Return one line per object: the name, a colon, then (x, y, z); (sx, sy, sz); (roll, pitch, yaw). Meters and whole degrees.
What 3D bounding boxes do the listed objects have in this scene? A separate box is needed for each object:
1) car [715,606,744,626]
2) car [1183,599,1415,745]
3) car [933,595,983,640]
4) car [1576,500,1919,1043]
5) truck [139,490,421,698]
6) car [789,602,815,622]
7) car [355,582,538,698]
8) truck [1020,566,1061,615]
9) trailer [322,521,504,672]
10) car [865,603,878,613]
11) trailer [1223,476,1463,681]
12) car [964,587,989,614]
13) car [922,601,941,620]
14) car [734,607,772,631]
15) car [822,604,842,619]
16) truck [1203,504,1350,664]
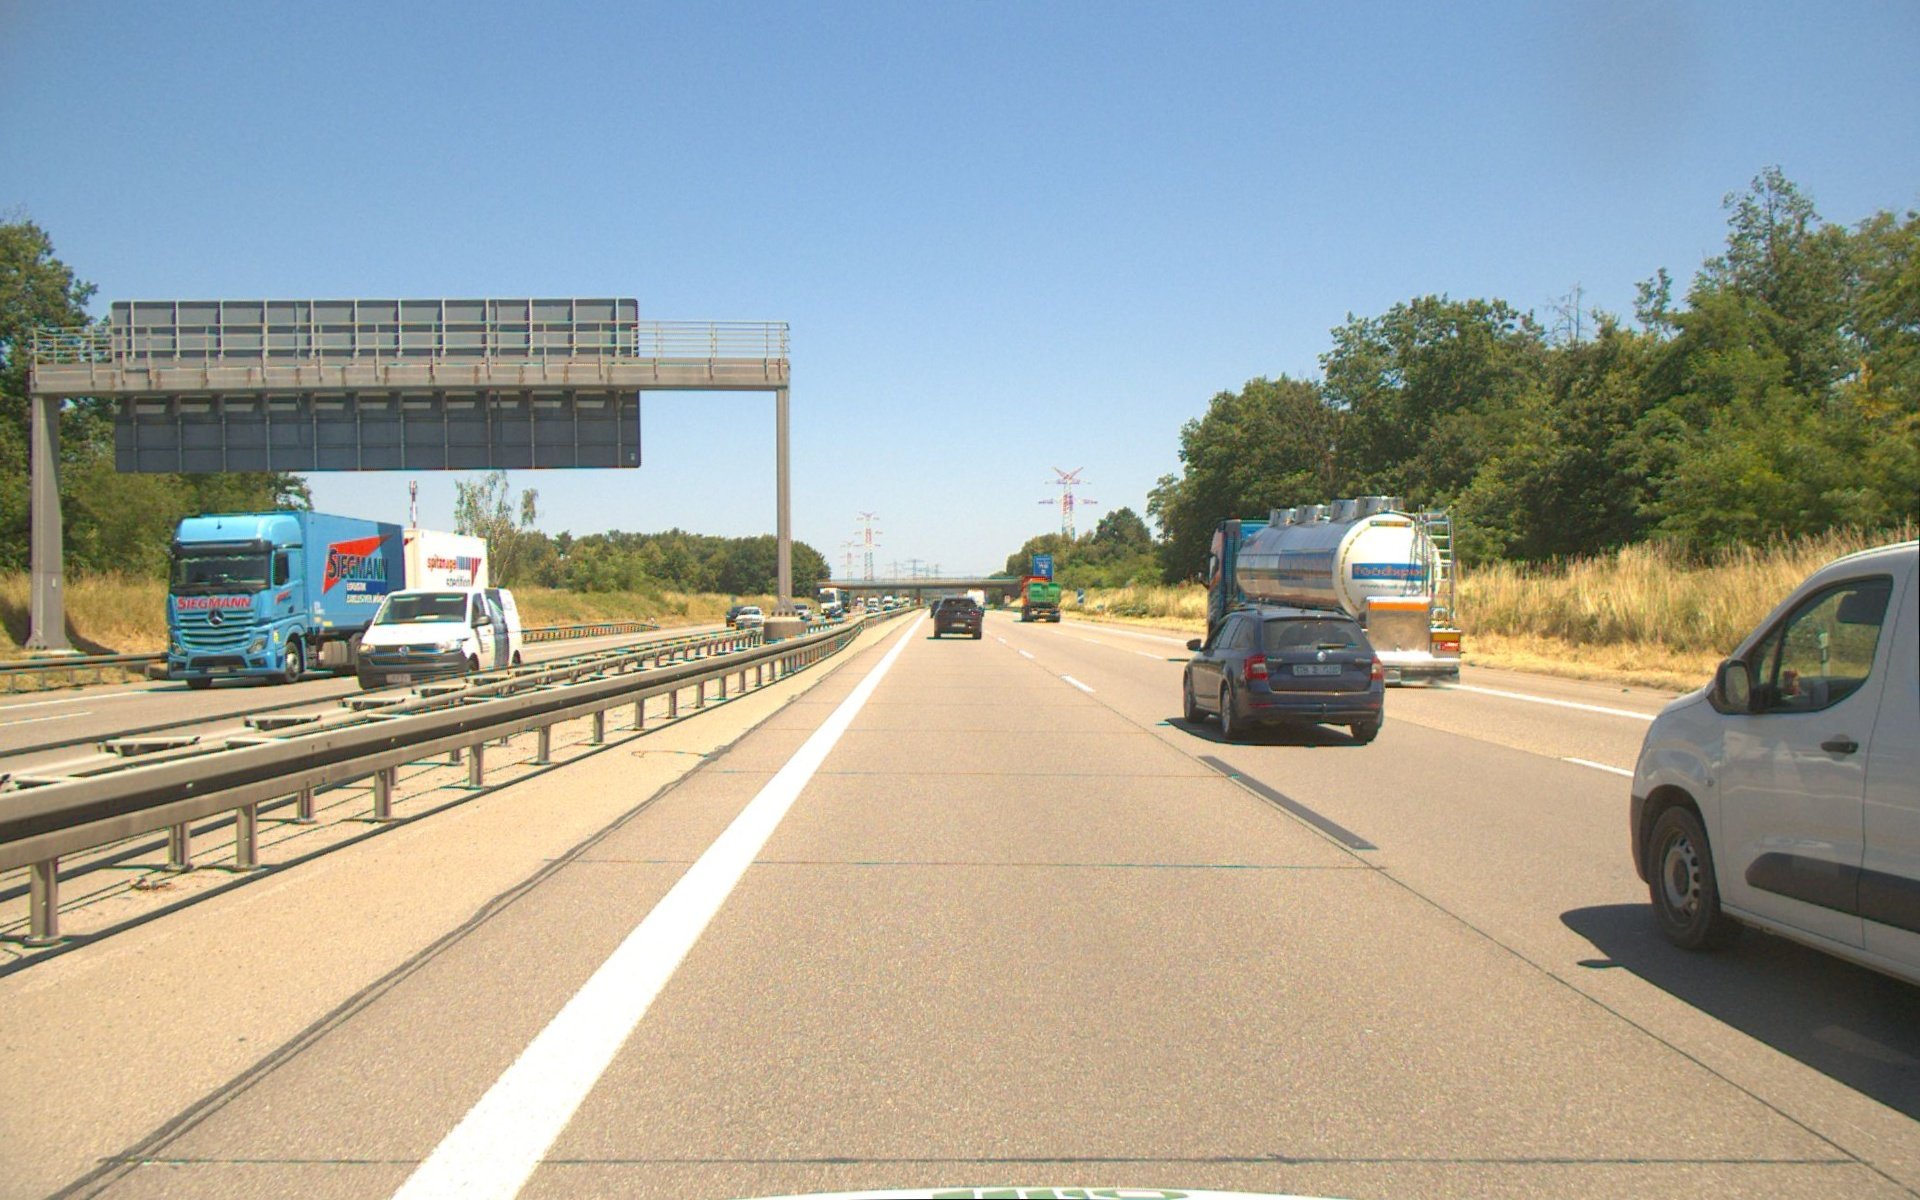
car: (-19.046, 1.334, 137.012); (1.794, 1.581, 4.948); (-2, 0, -1)
car: (3.866, 0.767, 19.596); (1.765, 1.509, 4.270); (1, 0, -2)
car: (-0.122, 0.710, 68.060); (1.953, 1.780, 3.999); (1, 0, -1)
car: (4.177, 0.598, 6.118); (1.828, 1.849, 4.939); (1, 0, -2)
truck: (-17.072, -0.133, 42.615); (2.996, 4.638, 10.456); (-1, 0, -1)
car: (-14.377, 1.067, 150.888); (1.922, 1.748, 5.288); (-2, 0, -1)
car: (-9.311, 0.683, 30.474); (1.794, 1.887, 5.235); (-2, 0, -1)
truck: (6.611, -0.756, 137.074); (2.626, 3.864, 12.476); (1, 0, -1)
trailer: (-17.232, -0.111, 52.841); (2.996, 4.357, 8.633); (-1, 0, -1)
car: (-13.600, 1.221, 254.475); (1.922, 1.454, 5.288); (-2, 0, -1)
trailer: (8.100, -0.386, 36.764); (2.477, 3.799, 11.546); (1, 0, -1)
car: (1.735, 0.034, 178.254); (2.568, 2.807, 6.095); (1, 0, -1)
car: (-2.737, 0.974, 157.318); (1.758, 1.780, 3.999); (1, 0, -1)
car: (-13.514, 1.221, 108.062); (1.769, 1.420, 4.480); (-2, 0, 1)
car: (-14.296, 1.239, 185.015); (1.922, 1.552, 5.288); (-2, 0, -1)
truck: (8.012, -0.374, 42.558); (2.477, 3.799, 6.097); (1, 0, -1)
